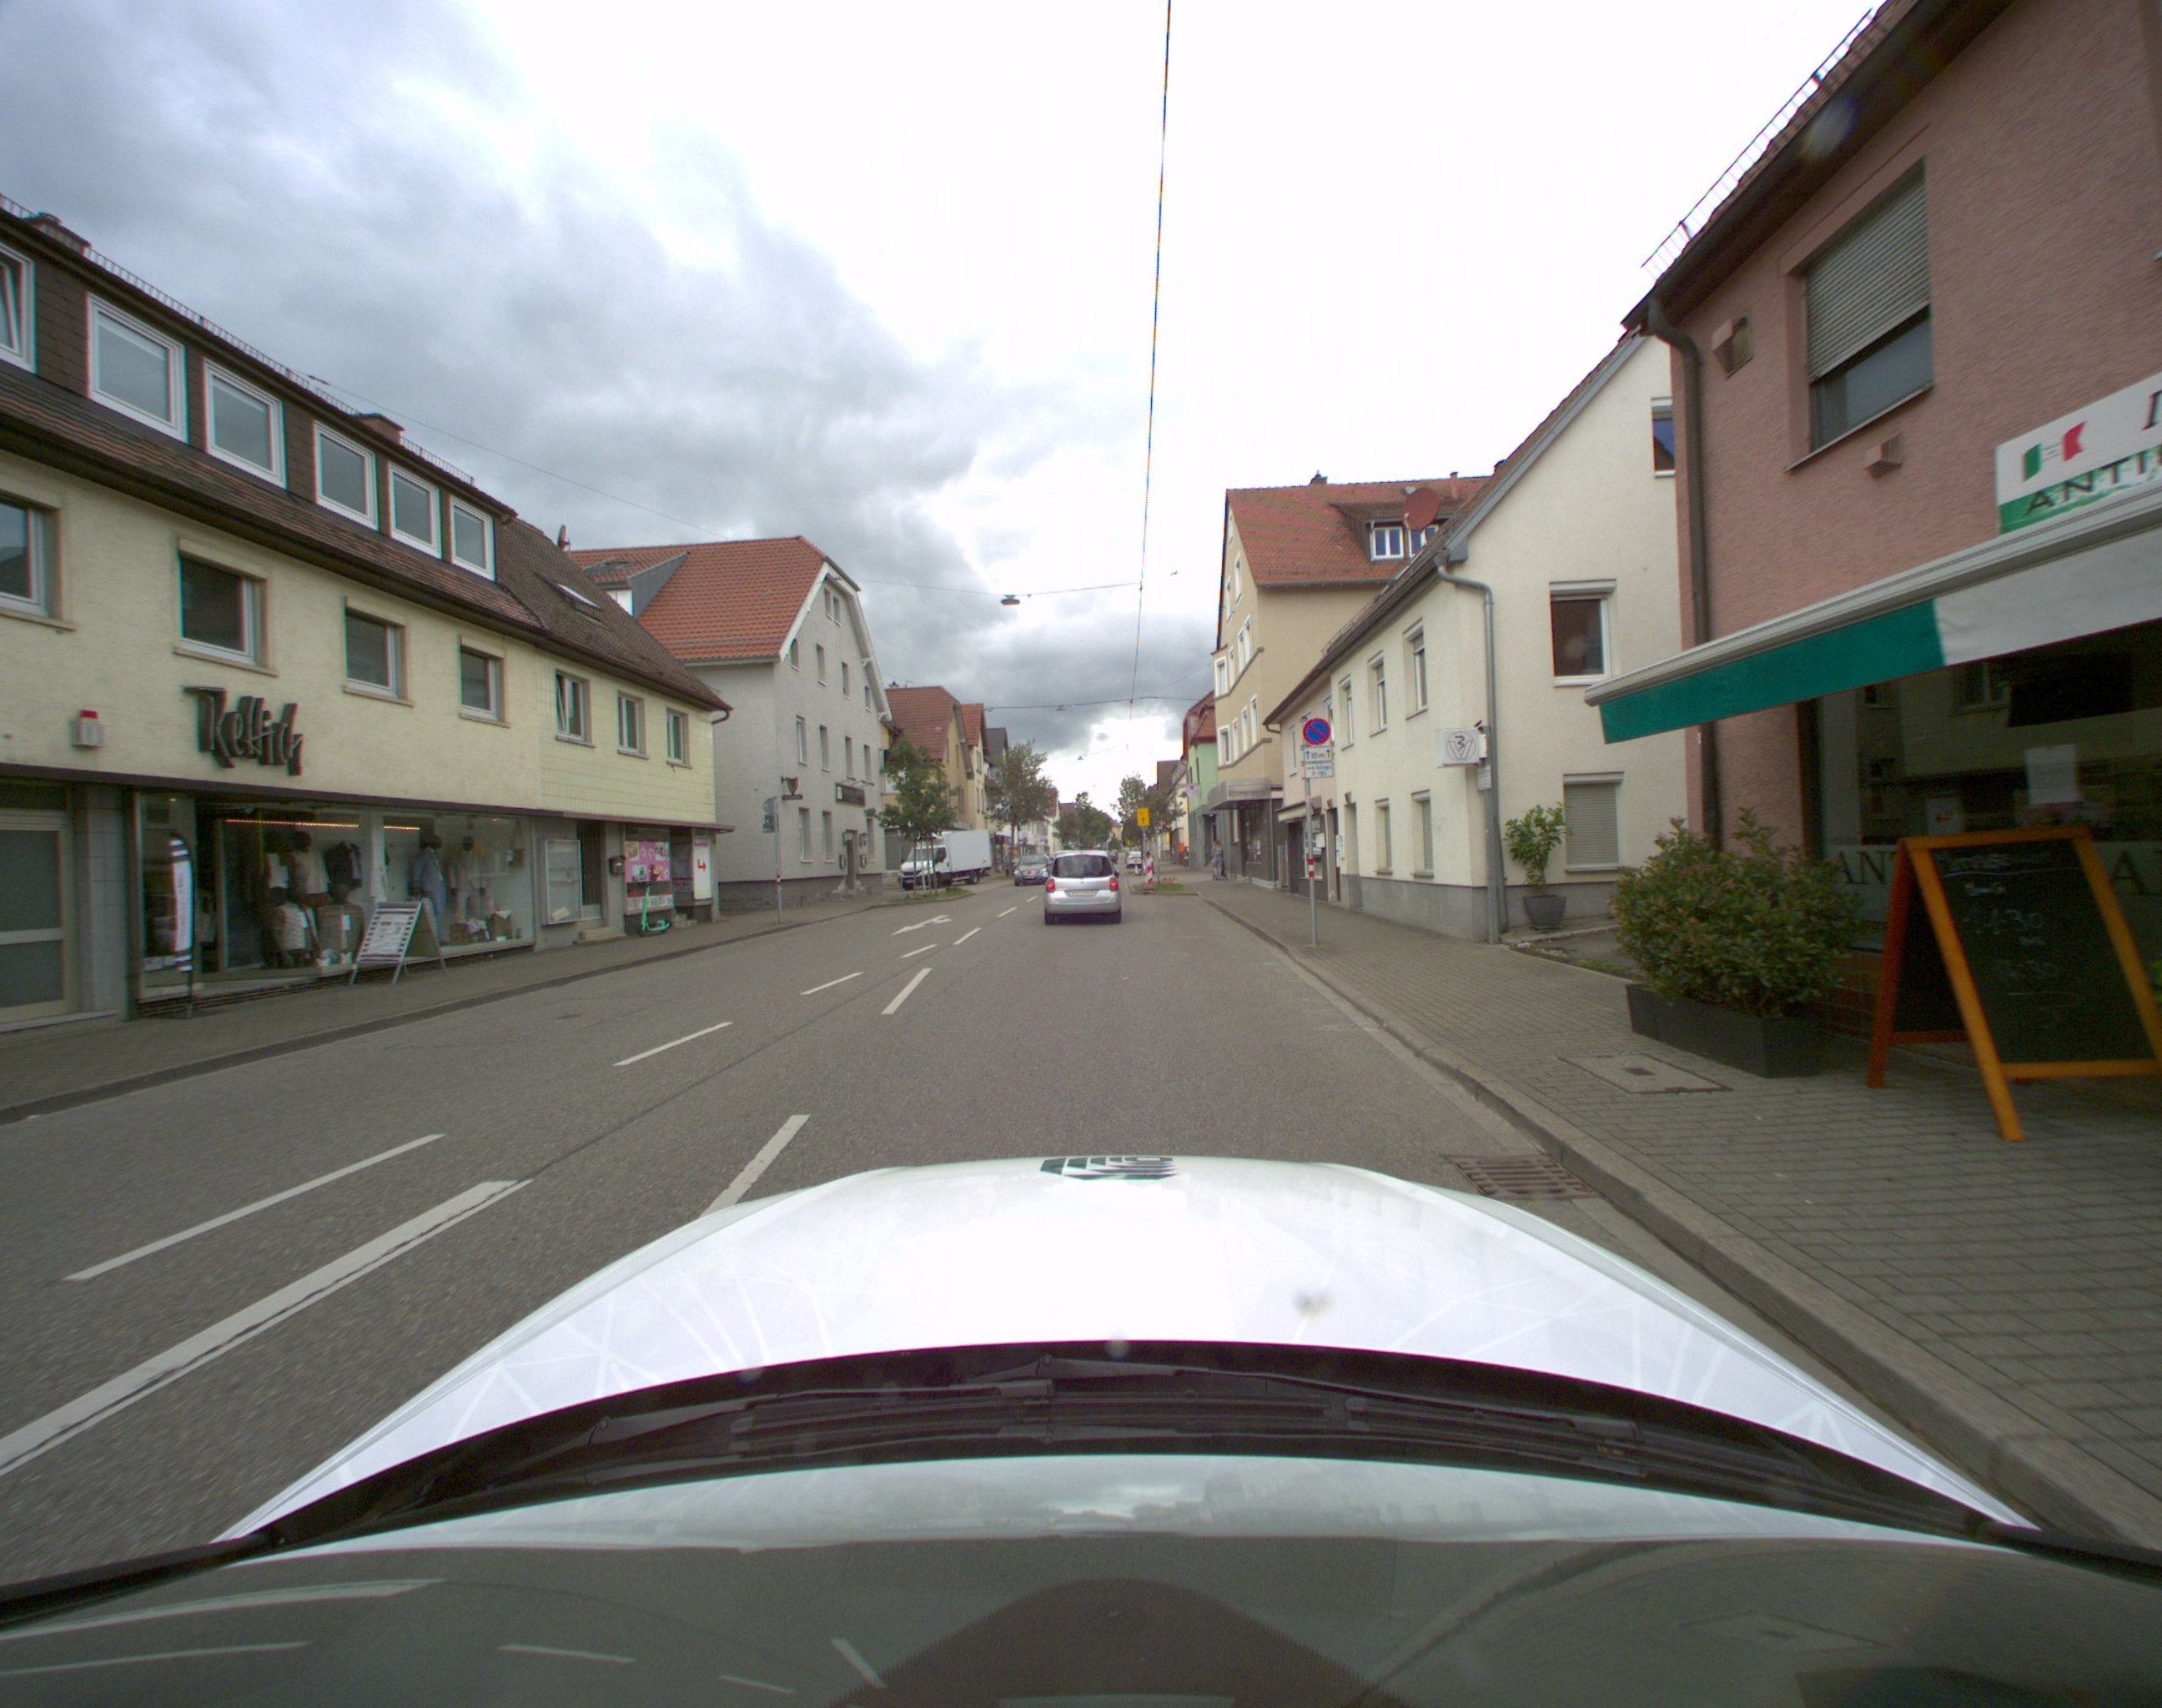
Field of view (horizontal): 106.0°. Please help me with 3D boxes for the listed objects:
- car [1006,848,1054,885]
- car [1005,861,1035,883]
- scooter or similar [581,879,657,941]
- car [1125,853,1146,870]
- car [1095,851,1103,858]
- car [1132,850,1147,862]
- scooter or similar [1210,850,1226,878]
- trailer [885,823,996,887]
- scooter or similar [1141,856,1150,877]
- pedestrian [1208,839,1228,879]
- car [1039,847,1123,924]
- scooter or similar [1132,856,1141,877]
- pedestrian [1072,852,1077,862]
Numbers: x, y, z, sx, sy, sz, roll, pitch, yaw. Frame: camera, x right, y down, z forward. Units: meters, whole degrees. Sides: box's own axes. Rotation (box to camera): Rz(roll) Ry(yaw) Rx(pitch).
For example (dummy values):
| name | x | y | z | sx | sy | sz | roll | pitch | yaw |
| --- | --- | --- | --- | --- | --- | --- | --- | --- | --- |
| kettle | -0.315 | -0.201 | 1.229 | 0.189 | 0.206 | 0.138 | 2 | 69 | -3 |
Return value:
| name | x | y | z | sx | sy | sz | roll | pitch | yaw |
| --- | --- | --- | --- | --- | --- | --- | --- | --- | --- |
| car | -2.616 | 0.624 | 43.078 | 1.985 | 1.796 | 4.280 | -3 | 0 | 3 |
| car | -4.468 | 1.303 | 59.809 | 1.676 | 1.424 | 3.933 | -3 | 0 | 2 |
| scooter or similar | -9.575 | 1.137 | 16.942 | 0.526 | 1.170 | 1.723 | -1 | 0 | 3 |
| car | 4.895 | 0.659 | 72.787 | 1.823 | 1.445 | 4.336 | -1 | 0 | 4 |
| car | 4.567 | 0.140 | 205.298 | 1.892 | 1.737 | 4.370 | -3 | 0 | 4 |
| car | 7.052 | 0.243 | 98.046 | 1.823 | 1.497 | 3.997 | -1 | 0 | 4 |
| scooter or similar | 6.122 | 0.459 | 36.361 | 0.587 | 1.233 | 0.892 | -1 | 0 | 2 |
| trailer | -7.513 | 0.063 | 44.648 | 2.481 | 3.219 | 7.174 | -1 | 0 | 23 |
| scooter or similar | 3.937 | 0.745 | 49.895 | 0.500 | 1.235 | 1.943 | -1 | 0 | 2 |
| pedestrian | 5.964 | 0.219 | 35.440 | 0.747 | 1.720 | 0.900 | -1 | 0 | 3 |
| car | 0.093 | 0.658 | 18.828 | 1.675 | 1.566 | 3.997 | -1 | 0 | 4 |
| scooter or similar | 3.404 | 0.755 | 49.902 | 0.500 | 1.235 | 1.943 | -1 | 0 | 2 |
| pedestrian | -1.232 | 0.493 | 147.472 | 0.759 | 1.791 | 0.890 | -1 | 0 | 2 |
